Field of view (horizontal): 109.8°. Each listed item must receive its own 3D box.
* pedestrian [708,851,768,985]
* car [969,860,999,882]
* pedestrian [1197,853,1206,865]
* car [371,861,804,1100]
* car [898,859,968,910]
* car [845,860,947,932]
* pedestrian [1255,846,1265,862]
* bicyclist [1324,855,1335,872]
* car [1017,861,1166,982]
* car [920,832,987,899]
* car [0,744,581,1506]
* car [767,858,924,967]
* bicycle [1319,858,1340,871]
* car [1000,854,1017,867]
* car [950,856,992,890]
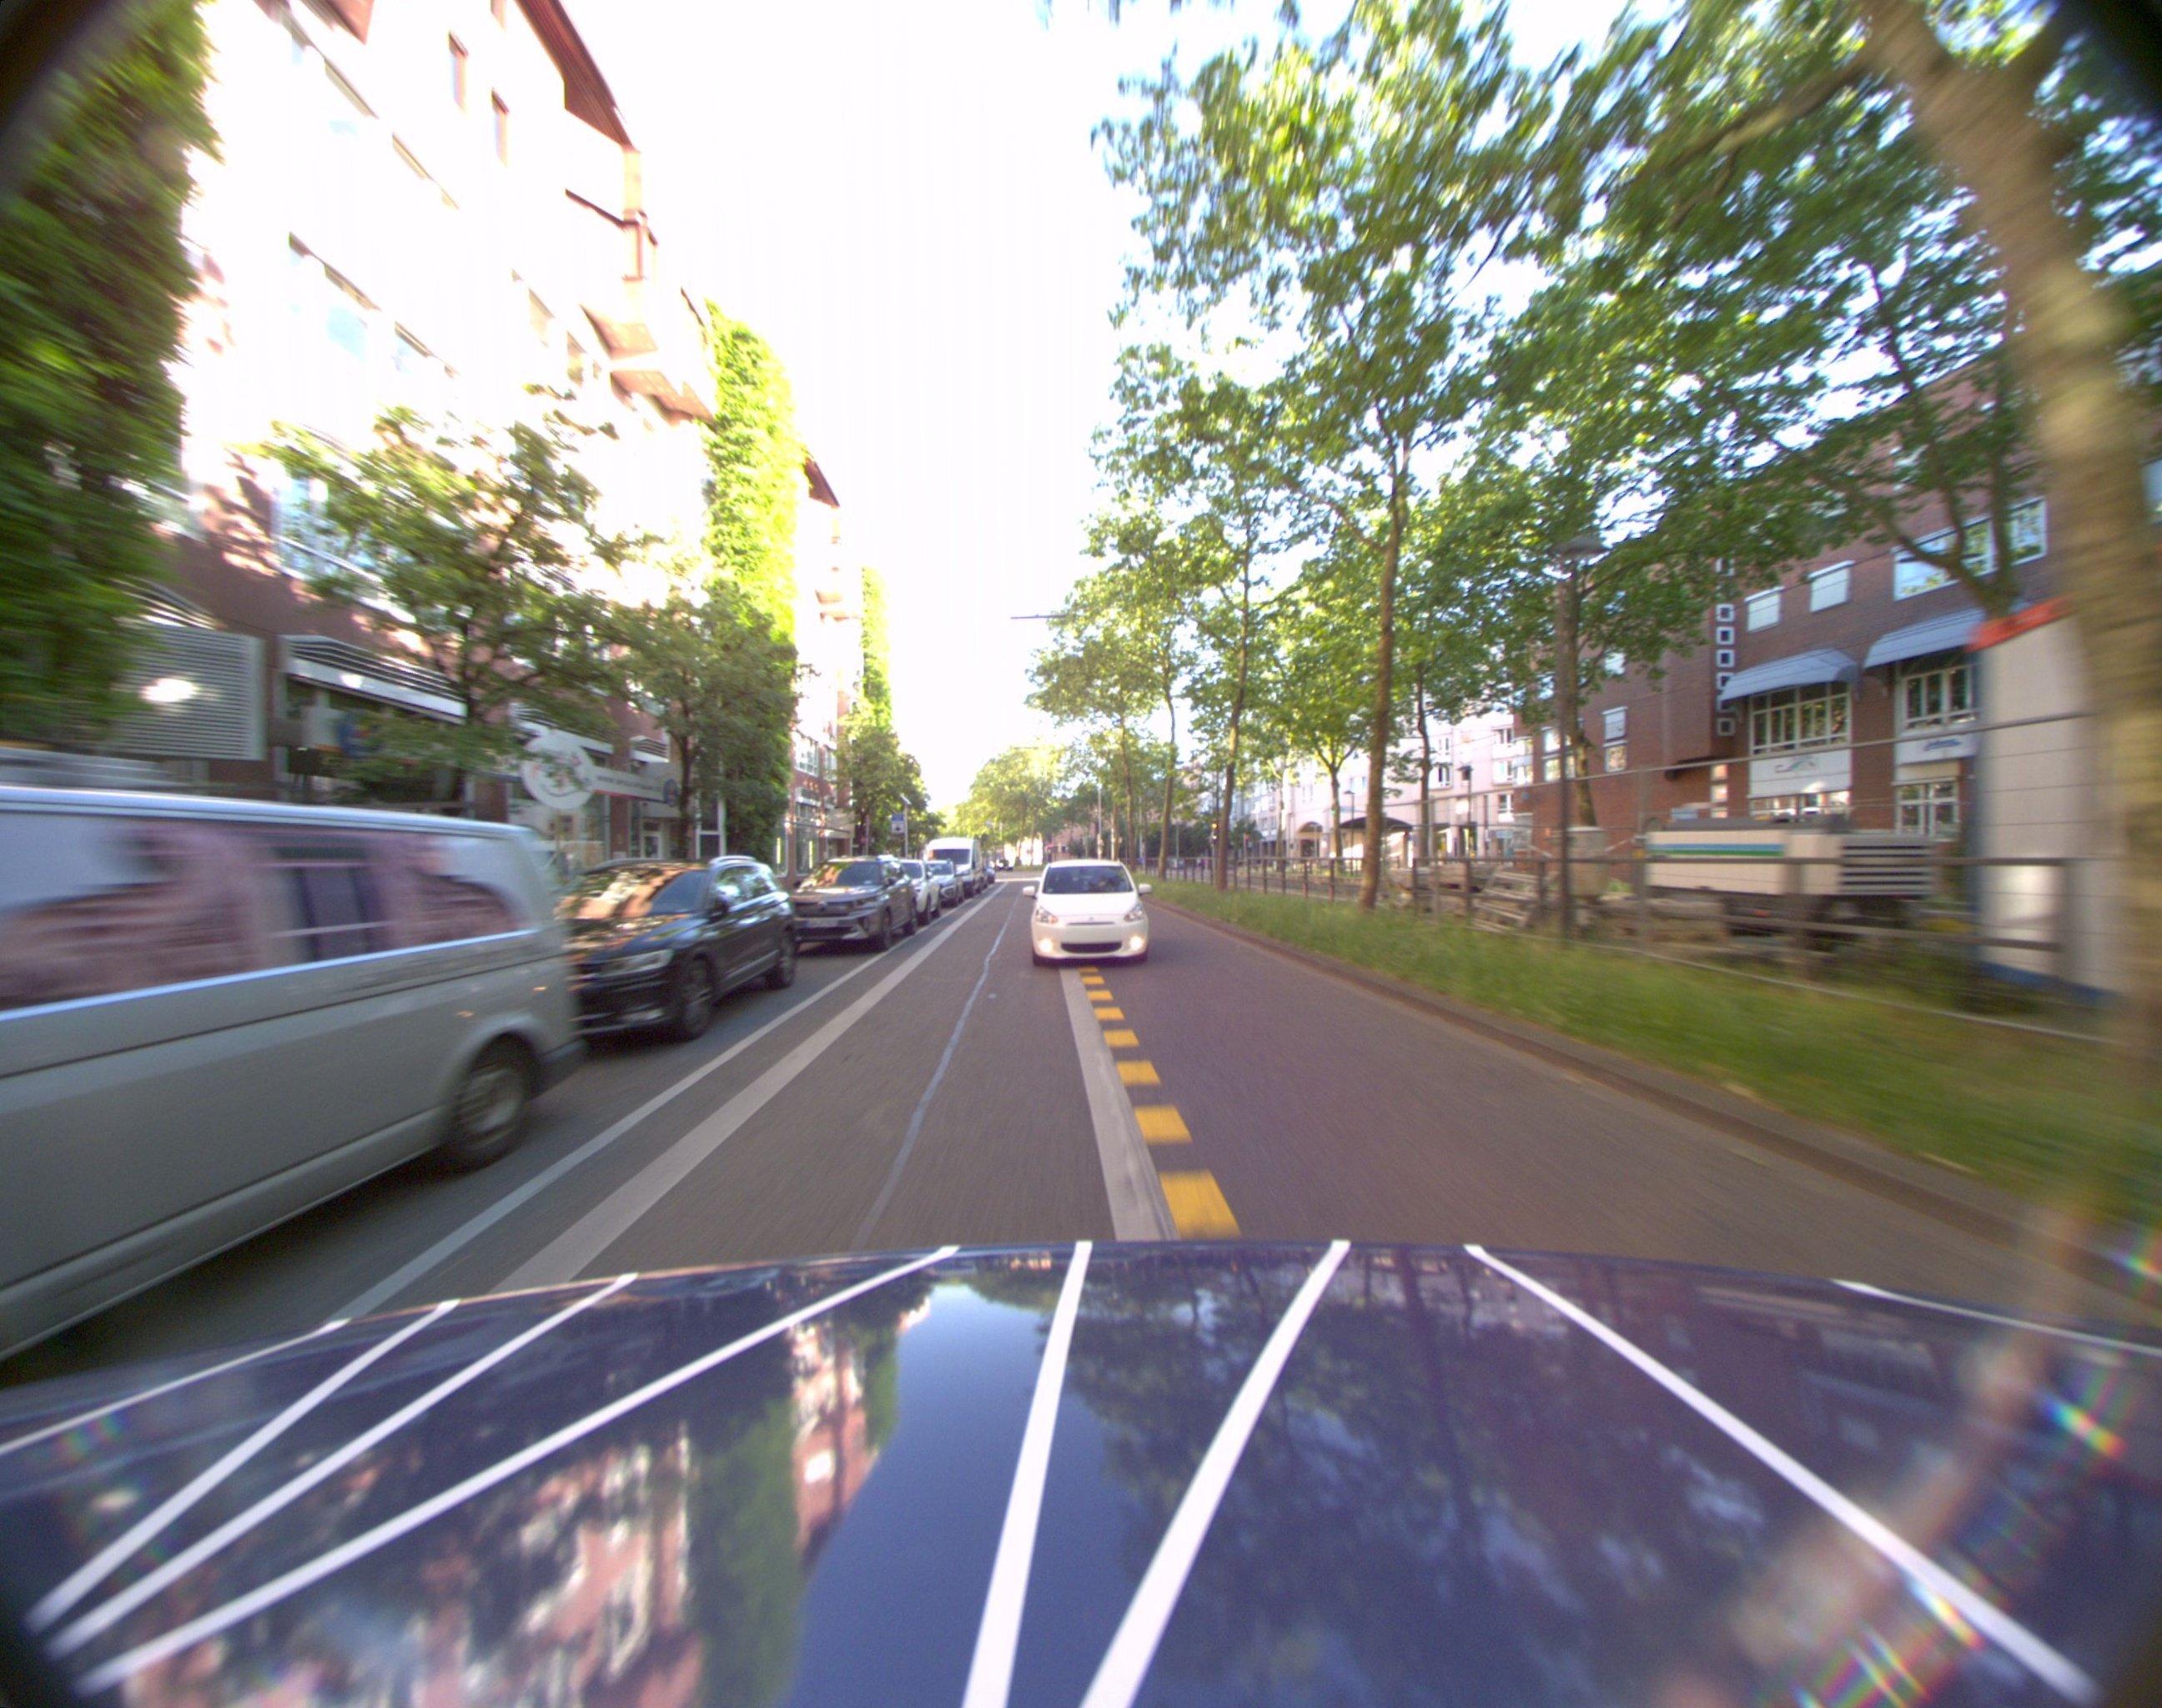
[{"bbox_3d":[-4.798,0.863,10.657,0.716,1.802,0.661,0,1,-22],"label":"pedestrian"},{"bbox_3d":[-6.170,1.052,48.599,1.809,1.322,3.989,-1,0,-7],"label":"car"},{"bbox_3d":[16.281,0.637,102.633,1.006,1.592,0.876,-2,1,2],"label":"pedestrian"},{"bbox_3d":[-4.332,0.933,7.616,1.792,1.660,4.198,-1,0,-4],"label":"car"},{"bbox_3d":[-4.900,0.960,25.643,1.833,1.570,3.998,-1,0,-4],"label":"car"},{"bbox_3d":[-4.529,0.962,19.206,1.833,1.570,3.998,-1,0,-4],"label":"car"},{"bbox_3d":[21.902,-0.018,92.831,1.006,2.002,0.876,-2,1,0],"label":"pedestrian"},{"bbox_3d":[24.054,0.938,73.511,0.720,1.639,0.667,-3,1,-34],"label":"bicyclist"},{"bbox_3d":[-0.032,0.889,11.948,1.809,1.492,4.198,-1,0,-7],"label":"car"},{"bbox_3d":[-5.283,0.451,32.243,2.121,2.550,5.903,-1,0,-3],"label":"car"},{"bbox_3d":[-3.903,0.741,2.064,1.924,2.066,5.168,-1,0,-4],"label":"car"},{"bbox_3d":[-4.146,0.927,14.152,1.792,1.660,4.438,-1,0,-4],"label":"car"},{"bbox_3d":[24.051,1.006,73.530,0.775,1.254,1.814,-3,1,-34],"label":"bicycle"},{"bbox_3d":[-9.541,0.883,100.133,1.999,1.524,3.998,-2,1,-4],"label":"car"},{"bbox_3d":[-5.570,0.906,38.962,1.809,1.617,4.474,-1,0,-4],"label":"car"}]
